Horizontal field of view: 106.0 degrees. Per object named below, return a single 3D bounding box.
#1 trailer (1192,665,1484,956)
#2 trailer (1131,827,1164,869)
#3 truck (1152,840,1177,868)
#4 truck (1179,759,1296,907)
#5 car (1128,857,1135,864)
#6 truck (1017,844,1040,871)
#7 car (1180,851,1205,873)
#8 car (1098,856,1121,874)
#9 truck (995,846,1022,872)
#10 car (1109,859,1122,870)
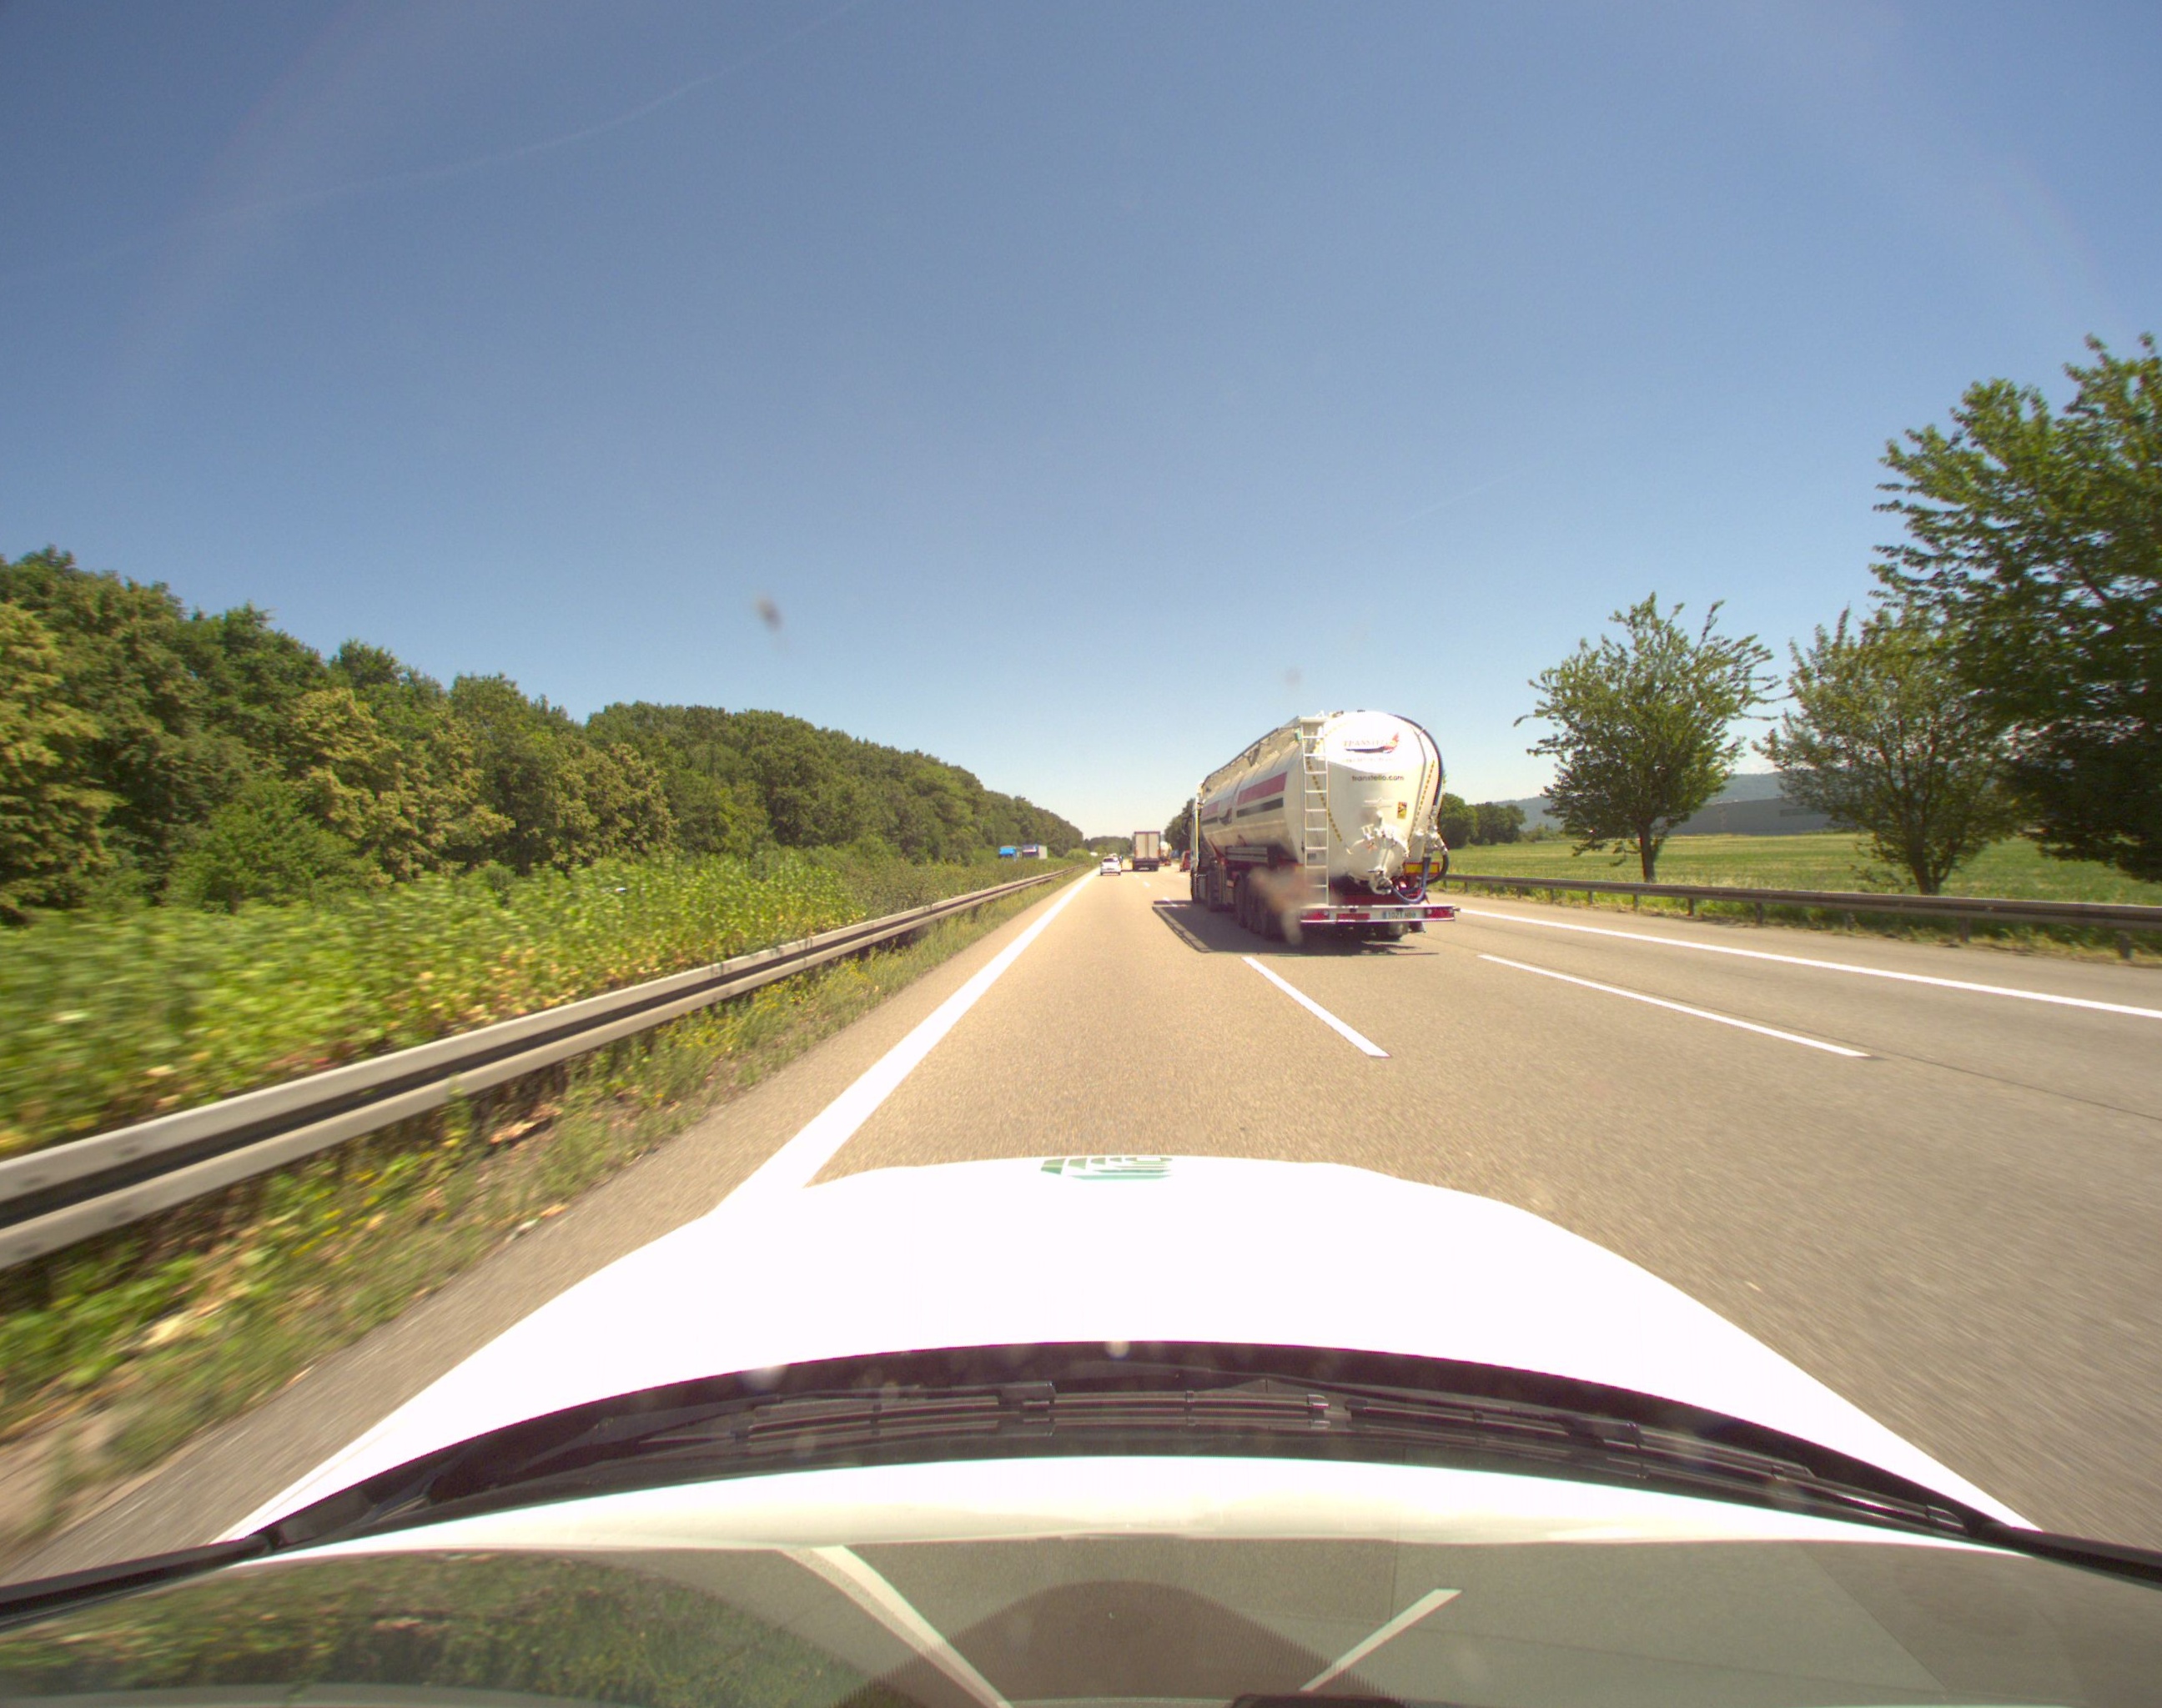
[{"bbox_3d":[4.615,-0.626,18.145,2.780,4.204,12.356,-1,0,1],"label":"trailer"},{"bbox_3d":[7.041,-0.571,86.779,3.209,4.143,12.366,-2,0,4],"label":"trailer"},{"bbox_3d":[13.370,0.032,131.271,3.212,4.345,10.809,-1,0,1],"label":"truck"},{"bbox_3d":[4.830,-0.589,26.049,2.780,4.204,5.001,-1,0,1],"label":"truck"},{"bbox_3d":[12.634,1.663,204.503,1.661,1.765,4.002,-1,0,2],"label":"car"},{"bbox_3d":[-8.063,0.504,125.507,2.859,4.009,5.003,-1,0,2],"label":"truck"},{"bbox_3d":[10.838,0.778,79.373,1.848,2.003,5.525,0,0,2],"label":"car"},{"bbox_3d":[2.342,0.894,67.797,1.805,1.405,3.317,-1,0,1],"label":"car"},{"bbox_3d":[-11.720,0.784,133.414,3.001,4.114,10.006,-1,0,2],"label":"truck"},{"bbox_3d":[4.662,1.378,108.630,1.661,1.289,4.002,-1,0,2],"label":"car"}]
